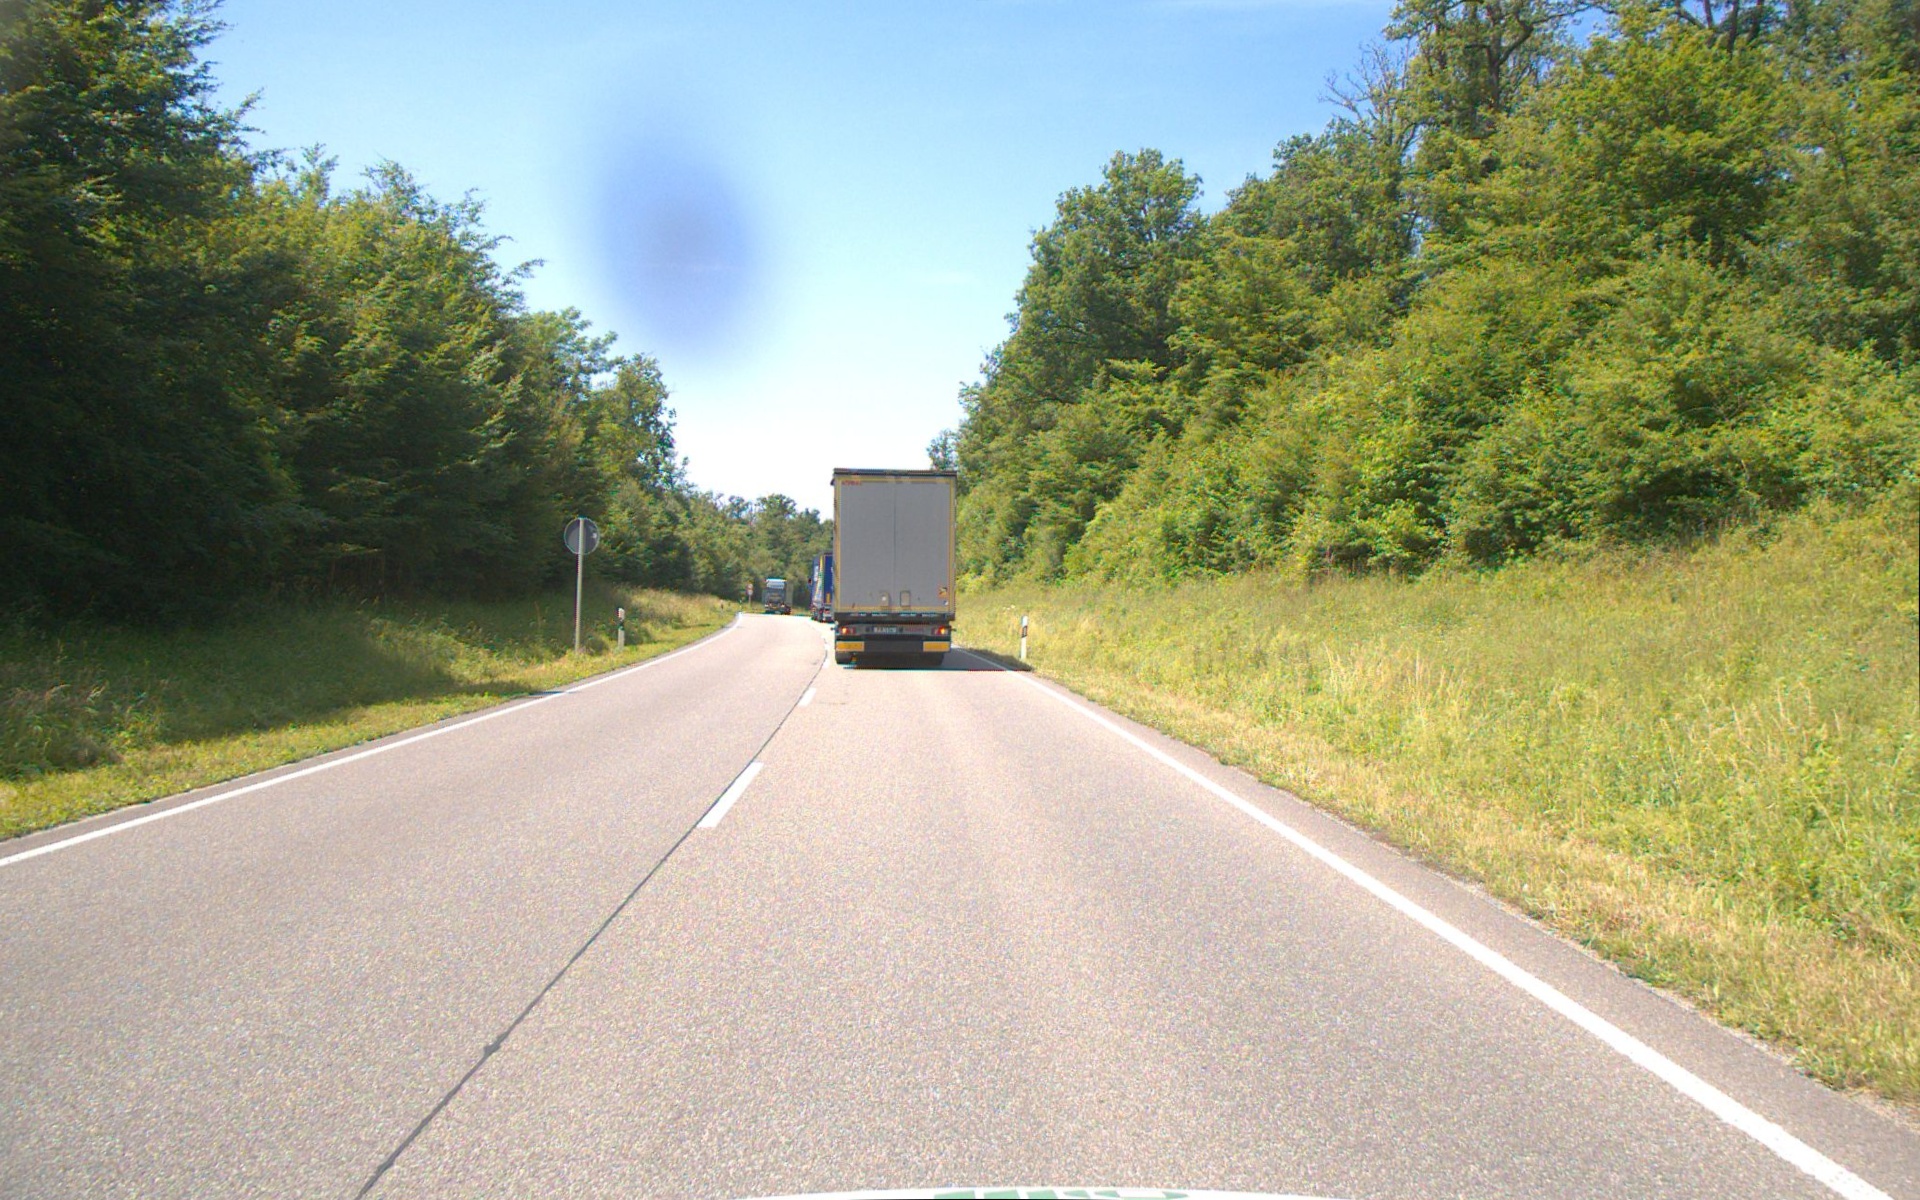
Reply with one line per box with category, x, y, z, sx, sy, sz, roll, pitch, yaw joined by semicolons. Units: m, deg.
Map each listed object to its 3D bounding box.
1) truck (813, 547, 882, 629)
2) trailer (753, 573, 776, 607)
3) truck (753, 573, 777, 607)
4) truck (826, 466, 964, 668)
truck;-6.906;-0.642;99.894;3.719;4.449;14.904;2;-1;-5
trailer;-25.312;-1.285;213.940;2.886;4.327;13.597;0;0;-7
truck;-24.505;-1.250;207.535;2.867;4.289;5.334;0;0;-7
truck;-1.701;-0.682;39.427;2.707;4.016;12.188;1;0;-4
